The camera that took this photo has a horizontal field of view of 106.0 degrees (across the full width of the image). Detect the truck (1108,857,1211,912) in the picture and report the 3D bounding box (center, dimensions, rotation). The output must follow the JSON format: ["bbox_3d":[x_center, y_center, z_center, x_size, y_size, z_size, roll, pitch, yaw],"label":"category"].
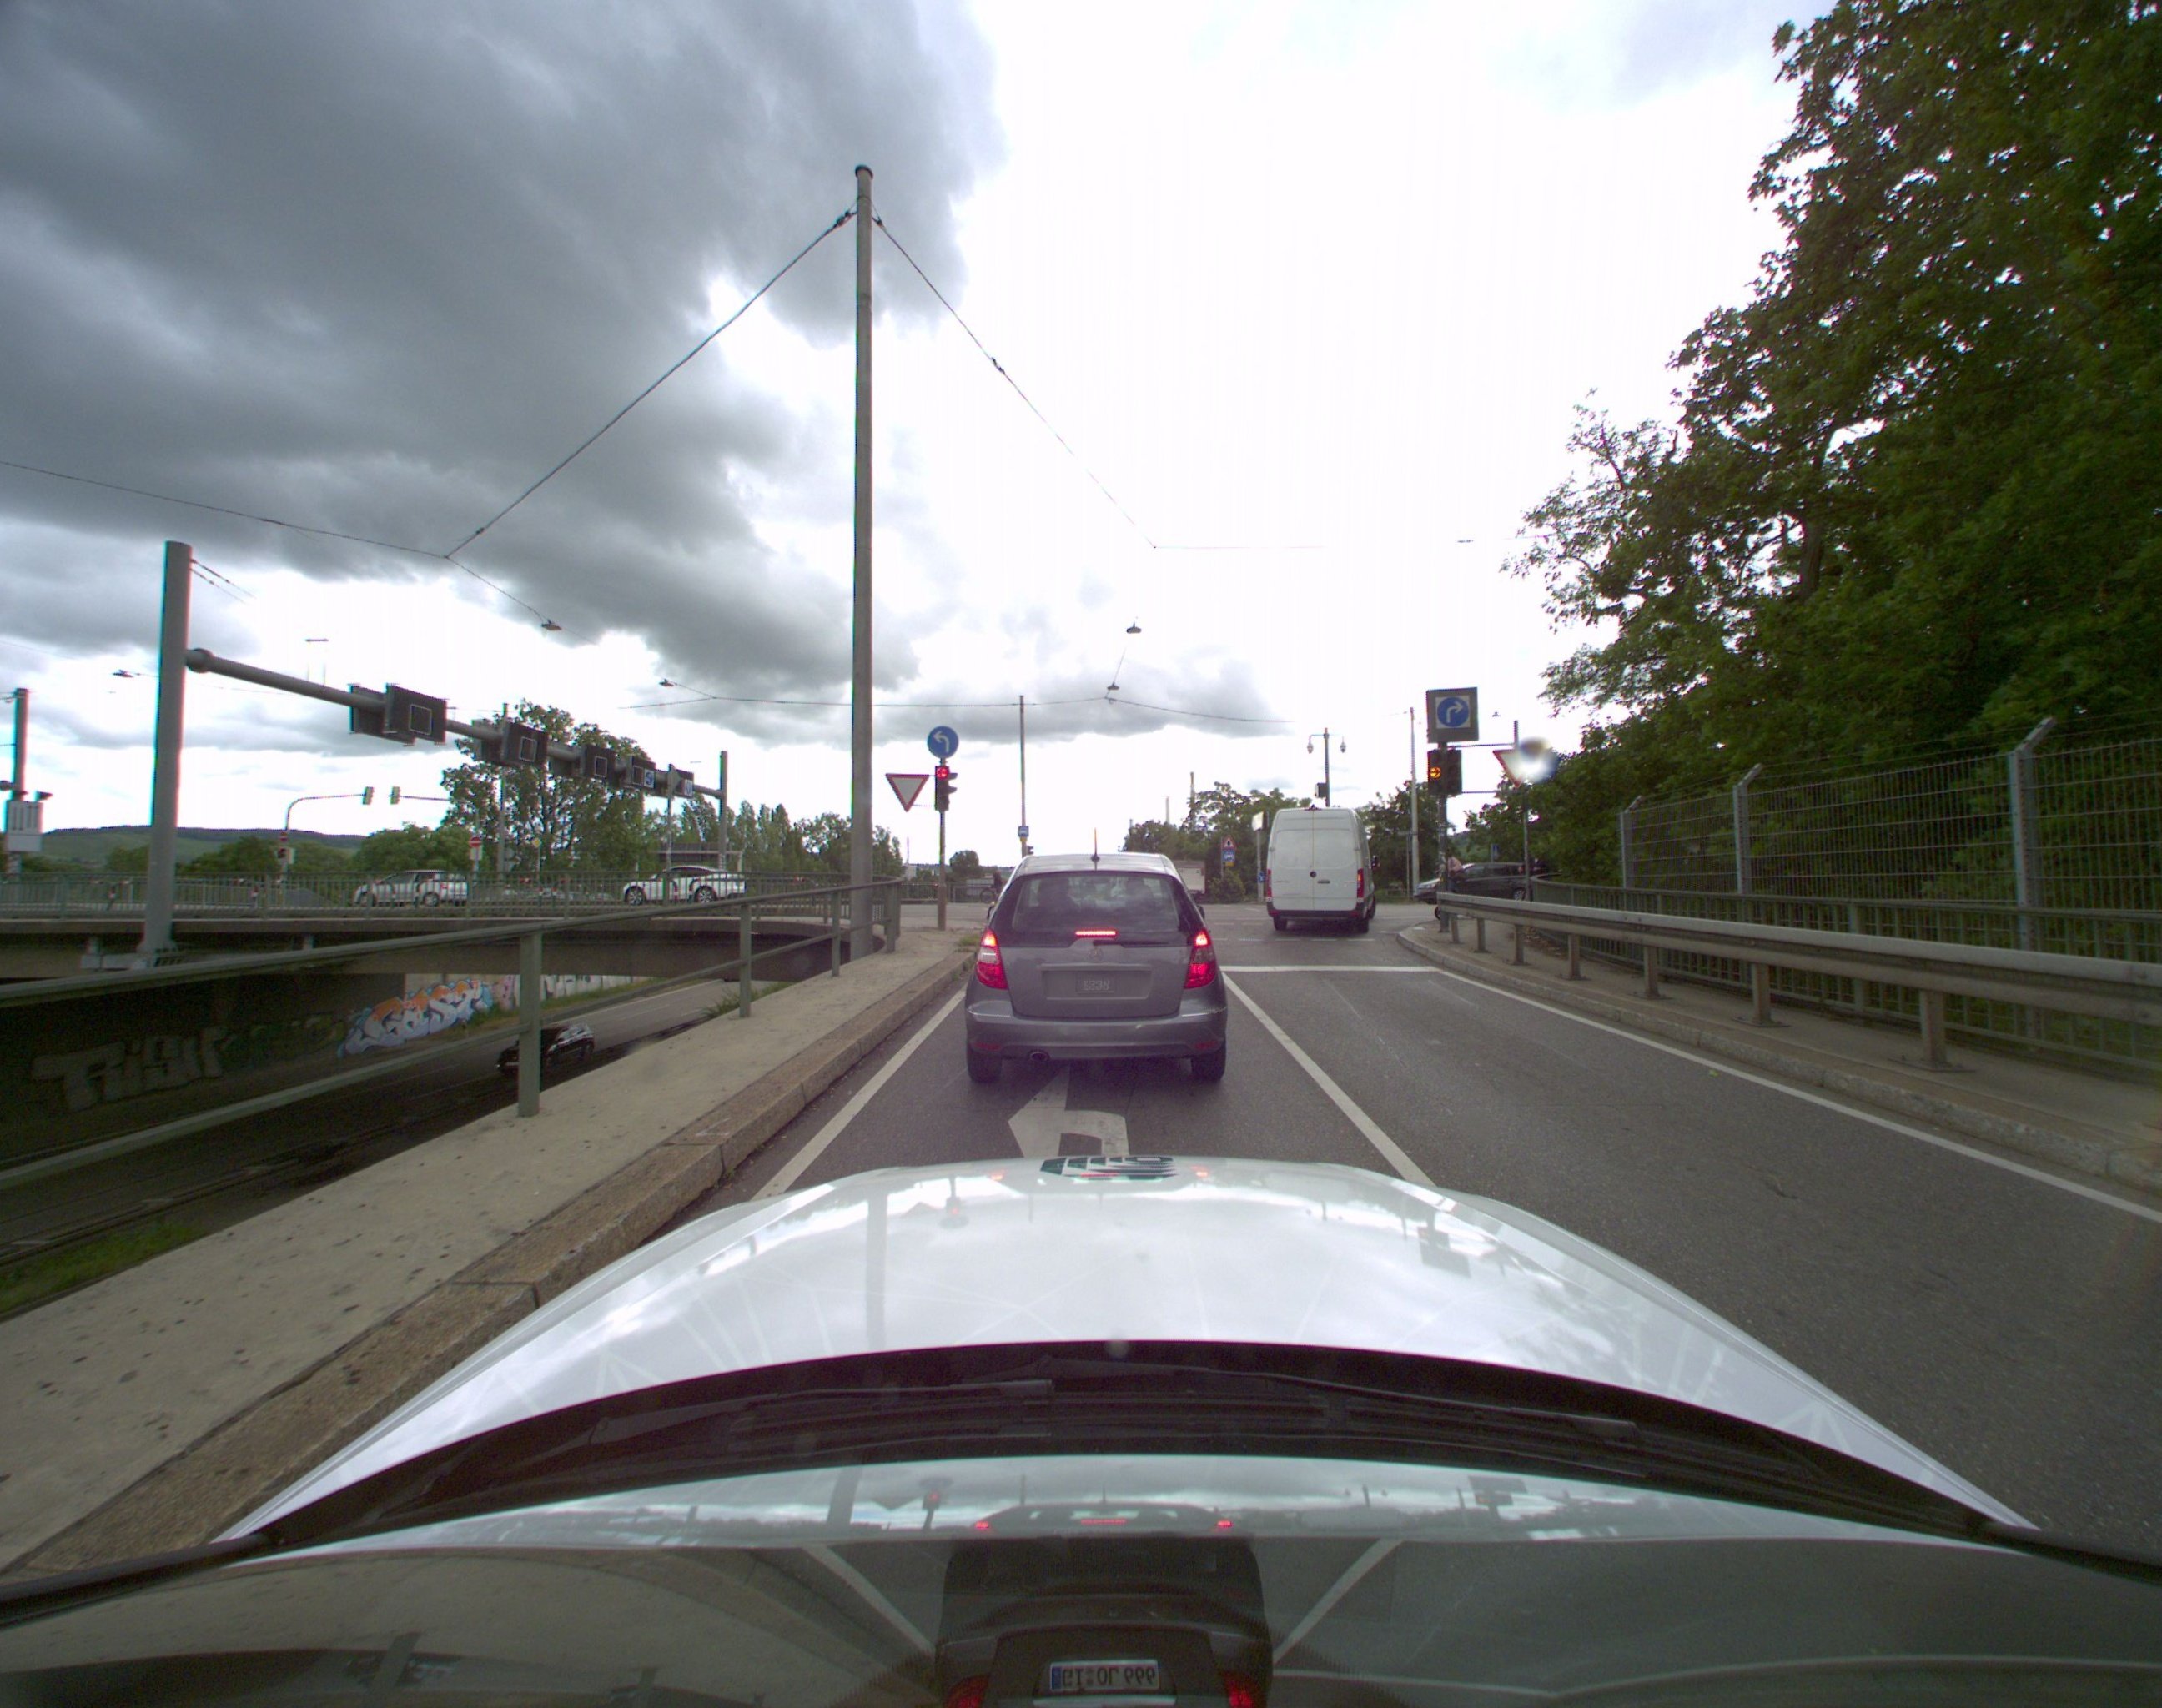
[{"bbox_3d":[5.330,2.012,58.243,2.801,3.518,10.169,-1,0,-23],"label":"truck"}]

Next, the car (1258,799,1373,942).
[{"bbox_3d":[5.781,0.294,19.369,2.092,2.783,6.814,-1,0,20],"label":"car"}]

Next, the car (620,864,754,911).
[{"bbox_3d":[-15.639,1.313,32.480,4.371,1.717,1.940,-1,0,4],"label":"car"}]

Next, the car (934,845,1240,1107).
[{"bbox_3d":[0.169,0.736,6.992,1.849,1.588,4.005,-1,1,4],"label":"car"}]

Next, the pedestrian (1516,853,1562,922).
[{"bbox_3d":[11.149,0.804,19.809,0.681,1.619,0.775,-1,0,-43],"label":"pedestrian"}]

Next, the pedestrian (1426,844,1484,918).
[{"bbox_3d":[8.756,0.640,19.125,0.830,1.678,0.978,-1,-3,-1],"label":"pedestrian"}]

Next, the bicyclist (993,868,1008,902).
[{"bbox_3d":[-3.986,1.524,40.280,0.653,1.673,0.867,-1,0,-9],"label":"bicyclist"}]

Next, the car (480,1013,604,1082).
[{"bbox_3d":[-21.859,7.816,33.284,1.986,1.841,4.424,-3,-3,2],"label":"car"}]

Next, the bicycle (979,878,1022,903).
[{"bbox_3d":[-3.992,1.810,40.266,2.032,1.124,0.926,-1,0,-10],"label":"bicycle"}]

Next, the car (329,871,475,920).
[{"bbox_3d":[-26.623,1.597,32.040,3.977,1.717,1.936,-1,0,-3],"label":"car"}]

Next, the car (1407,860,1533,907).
[{"bbox_3d":[14.814,1.112,31.167,3.969,1.665,1.815,-1,0,4],"label":"car"}]
